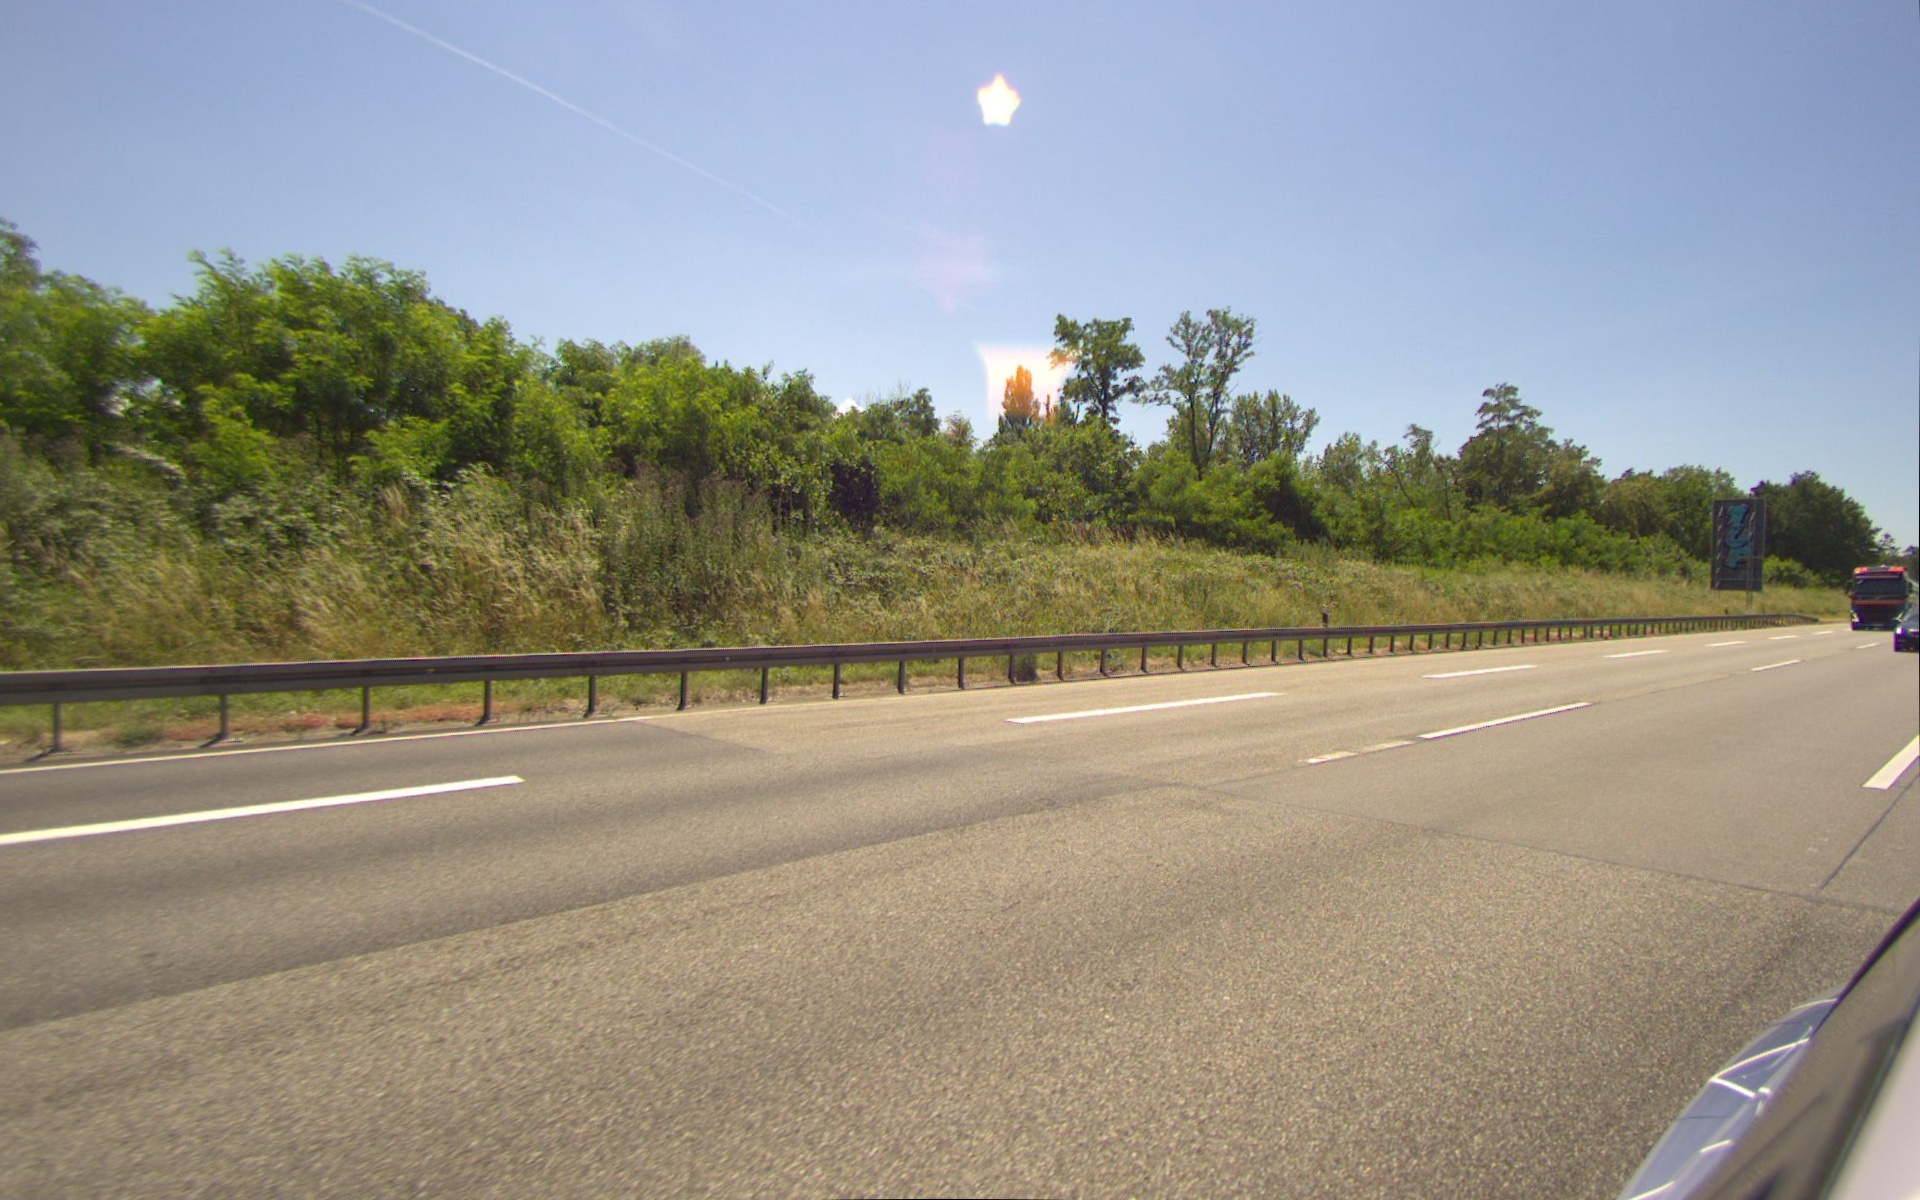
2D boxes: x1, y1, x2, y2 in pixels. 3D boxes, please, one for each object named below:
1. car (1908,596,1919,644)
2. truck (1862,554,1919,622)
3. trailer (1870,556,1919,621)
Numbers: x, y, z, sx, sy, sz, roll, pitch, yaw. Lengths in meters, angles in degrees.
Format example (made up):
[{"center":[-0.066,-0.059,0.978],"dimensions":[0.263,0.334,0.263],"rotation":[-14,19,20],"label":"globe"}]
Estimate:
[{"center":[31.766,0.614,32.366],"dimensions":[4.199,1.502,1.803],"rotation":[0,0,-43],"label":"car"},{"center":[54.801,-0.682,59.061],"dimensions":[5.994,3.781,2.532],"rotation":[0,-1,-42],"label":"truck"},{"center":[59.391,-0.708,63.224],"dimensions":[11.350,3.781,2.532],"rotation":[0,-1,-42],"label":"trailer"}]
